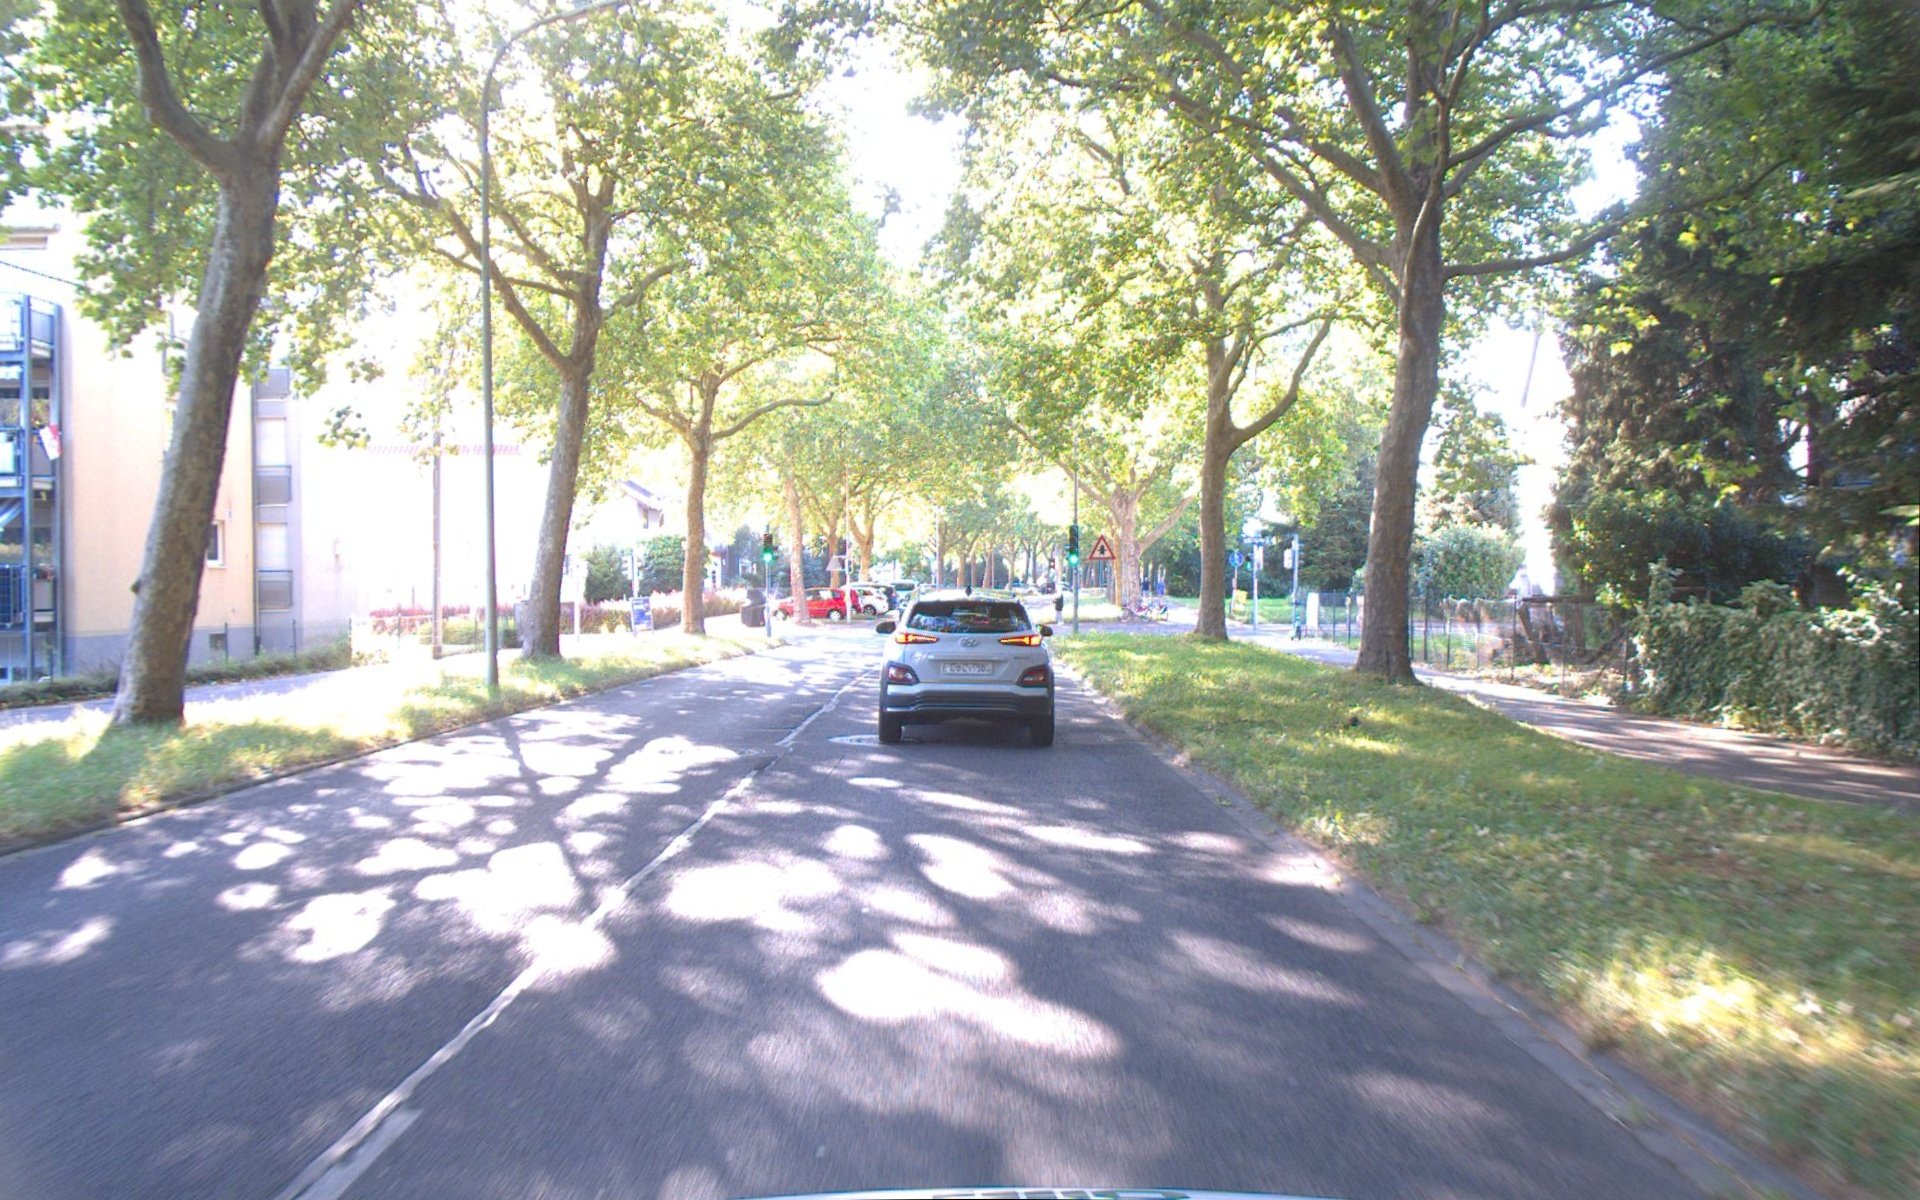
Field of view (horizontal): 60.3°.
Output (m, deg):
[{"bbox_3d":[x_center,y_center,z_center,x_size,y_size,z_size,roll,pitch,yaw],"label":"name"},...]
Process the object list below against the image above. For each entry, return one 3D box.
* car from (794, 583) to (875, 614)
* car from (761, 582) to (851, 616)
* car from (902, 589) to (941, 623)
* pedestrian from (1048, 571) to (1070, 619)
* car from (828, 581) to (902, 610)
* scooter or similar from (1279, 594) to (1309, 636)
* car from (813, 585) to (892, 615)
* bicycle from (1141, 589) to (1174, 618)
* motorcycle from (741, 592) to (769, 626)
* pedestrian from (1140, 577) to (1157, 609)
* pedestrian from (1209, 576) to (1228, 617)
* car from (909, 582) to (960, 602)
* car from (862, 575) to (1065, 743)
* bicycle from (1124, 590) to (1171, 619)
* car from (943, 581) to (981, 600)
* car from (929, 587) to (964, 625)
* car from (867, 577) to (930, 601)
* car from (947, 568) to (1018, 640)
[{"bbox_3d":[-6.346,-0.088,83.822,3.904,1.504,2.000,1,0,1],"label":"car"},{"bbox_3d":[-7.097,-0.026,76.308,3.904,1.504,2.000,1,0,1],"label":"car"},{"bbox_3d":[-1.763,0.266,77.514,1.653,1.462,3.683,1,1,1],"label":"car"},{"bbox_3d":[4.277,-0.196,71.339,0.849,2.049,0.814,0,0,9],"label":"pedestrian"},{"bbox_3d":[-5.168,-0.239,90.341,3.904,1.504,2.000,1,0,1],"label":"car"},{"bbox_3d":[10.358,0.464,51.314,0.538,1.280,2.313,1,0,2],"label":"scooter or similar"},{"bbox_3d":[-5.595,-0.018,86.183,3.904,1.504,2.001,1,0,3],"label":"car"},{"bbox_3d":[8.415,0.140,70.596,0.594,1.204,2.108,1,0,-18],"label":"bicycle"},{"bbox_3d":[-8.891,0.382,71.793,0.828,1.403,2.776,1,0,0],"label":"motorcycle"},{"bbox_3d":[12.375,-0.473,108.559,1.071,2.049,1.106,0,0,7],"label":"pedestrian"},{"bbox_3d":[11.208,-0.153,71.675,0.816,1.766,0.886,0,0,9],"label":"pedestrian"},{"bbox_3d":[-1.966,-0.626,129.752,3.904,1.504,2.000,1,0,1],"label":"car"},{"bbox_3d":[0.043,0.569,18.046,1.952,1.602,4.000,1,0,0],"label":"car"},{"bbox_3d":[7.852,0.189,69.384,0.600,1.184,2.116,1,0,-42],"label":"bicycle"},{"bbox_3d":[0.182,-0.954,167.616,3.601,1.840,1.746,0,0,-9],"label":"car"},{"bbox_3d":[-0.707,0.328,86.197,1.754,1.914,4.000,1,0,0],"label":"car"},{"bbox_3d":[-3.914,-0.693,105.474,3.904,1.504,2.000,1,0,1],"label":"car"},{"bbox_3d":[0.633,0.095,48.746,1.953,2.049,3.999,0,0,-1],"label":"car"}]
